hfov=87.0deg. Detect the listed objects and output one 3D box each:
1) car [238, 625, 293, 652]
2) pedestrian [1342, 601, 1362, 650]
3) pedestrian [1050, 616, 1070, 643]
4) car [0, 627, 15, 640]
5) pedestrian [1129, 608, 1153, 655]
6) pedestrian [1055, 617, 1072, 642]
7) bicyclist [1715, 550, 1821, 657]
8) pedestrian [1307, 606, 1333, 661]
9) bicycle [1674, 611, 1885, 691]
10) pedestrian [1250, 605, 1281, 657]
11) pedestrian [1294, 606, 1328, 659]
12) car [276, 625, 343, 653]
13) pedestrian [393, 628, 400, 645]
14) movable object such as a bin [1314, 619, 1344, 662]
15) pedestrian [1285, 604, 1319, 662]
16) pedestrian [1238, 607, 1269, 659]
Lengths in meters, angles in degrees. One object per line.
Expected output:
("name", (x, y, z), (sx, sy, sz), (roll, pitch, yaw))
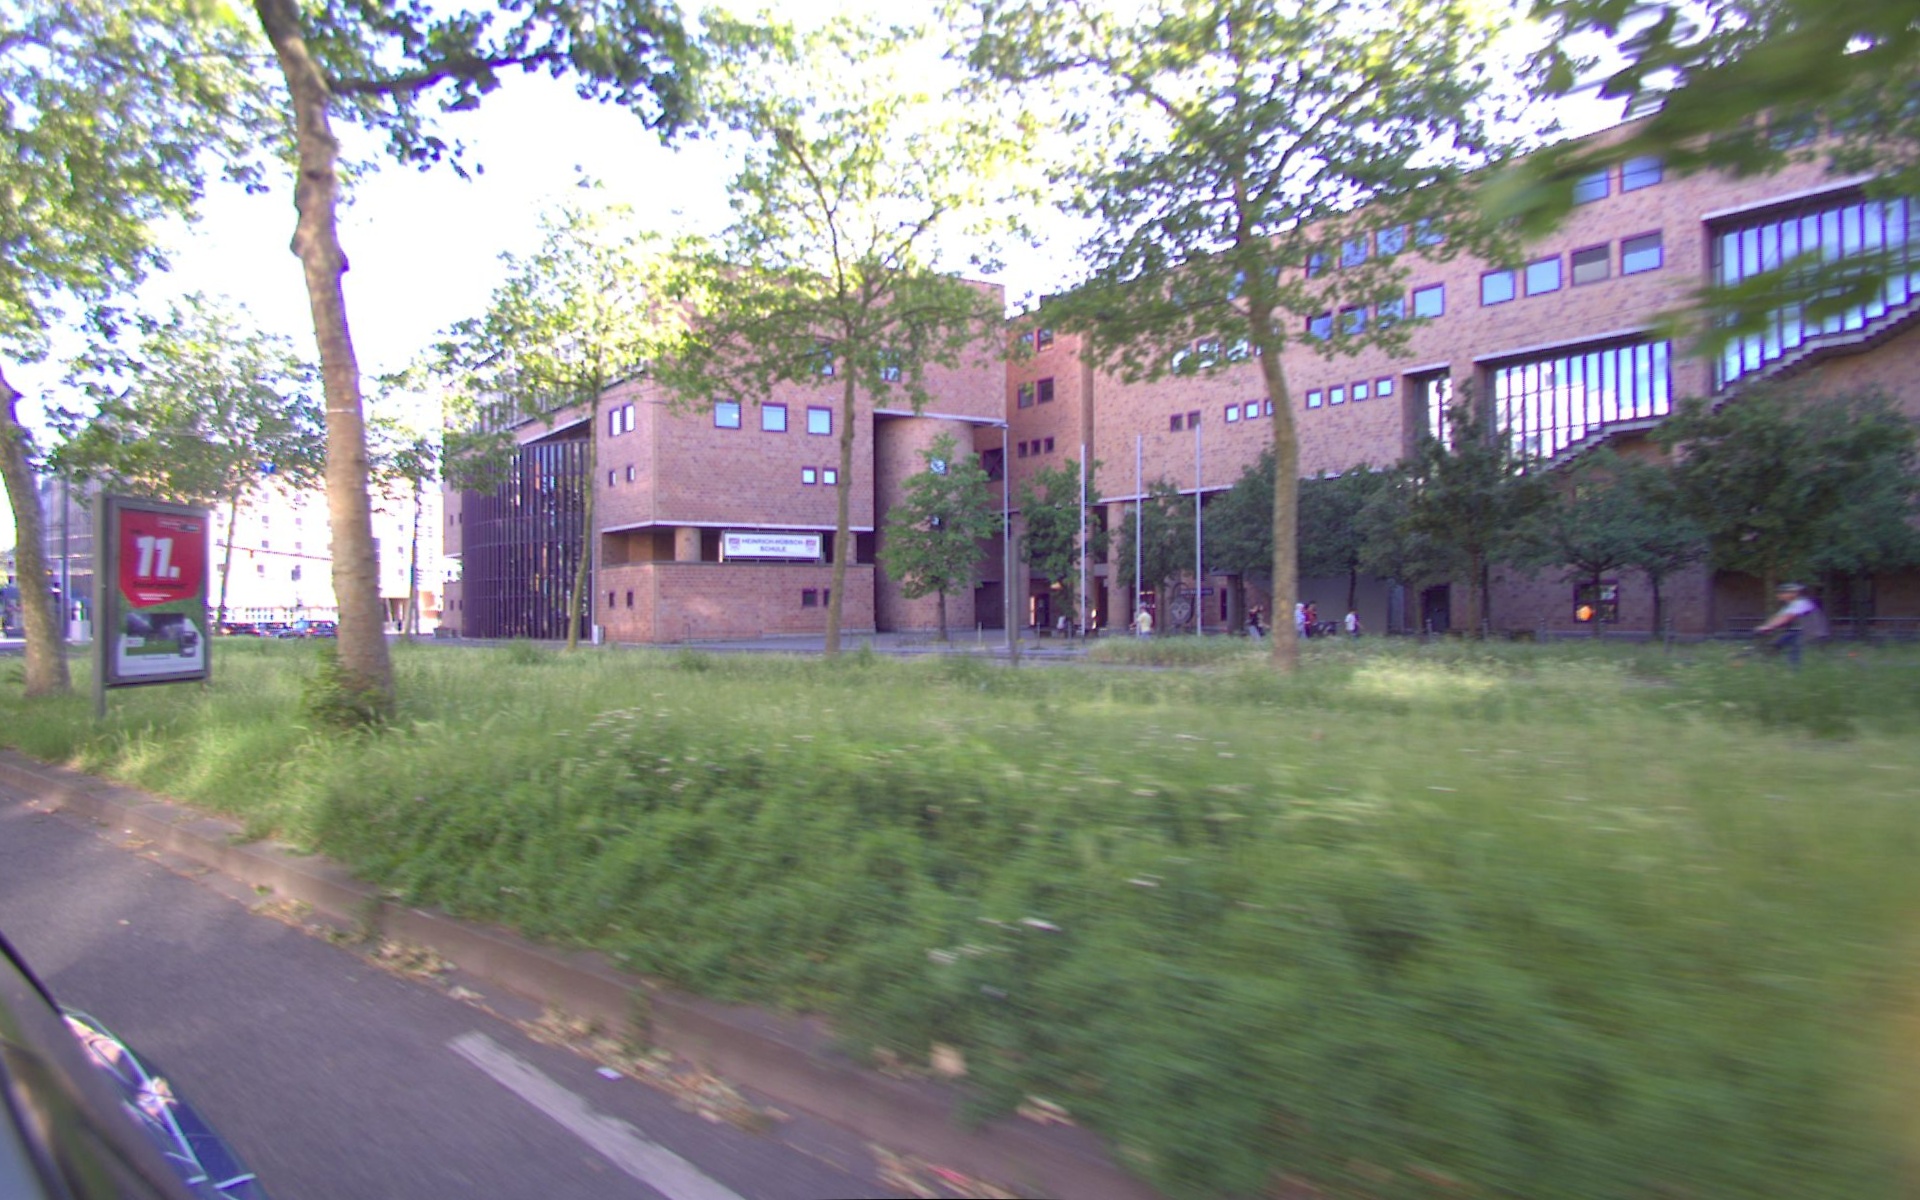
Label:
("car", (-39.414, 2.186, 57.417), (3.216, 1.440, 1.598), (-2, -2, 37))
("pedestrian", (12.277, 0.810, 31.678), (0.462, 1.517, 0.479), (-1, -1, 33))
("pedestrian", (4.809, 1.417, 48.667), (0.654, 1.260, 0.759), (0, -1, -20))
("car", (-131.429, 4.626, 139.182), (3.998, 1.663, 1.682), (-2, -1, 41))
("pedestrian", (6.068, 1.040, 33.952), (0.411, 1.555, 0.654), (0, -1, -38))
("pedestrian", (5.084, 1.465, 49.636), (0.627, 1.207, 0.660), (-1, -1, 28))
("bicyclist", (12.430, 0.065, 15.600), (1.208, 1.583, 0.932), (-2, -1, 38))
("pedestrian", (11.265, 1.047, 31.648), (0.595, 1.692, 0.605), (-2, -1, 37))
("bicycle", (12.476, 0.736, 15.525), (2.433, 1.134, 0.947), (-1, -1, 38))
("pedestrian", (9.778, 0.992, 32.427), (0.755, 1.629, 0.658), (-2, -1, 35))
("pedestrian", (10.914, 1.008, 31.484), (0.656, 1.629, 0.757), (0, -1, -41))
("car", (-34.491, 2.065, 53.659), (4.142, 1.440, 1.655), (-2, -1, 37))
("pedestrian", (-51.633, 3.333, 92.667), (0.558, 1.516, 0.513), (0, -3, -30))
("movable object such as a bin", (11.024, 1.204, 30.269), (0.755, 1.289, 0.352), (-2, -1, 37))
("pedestrian", (10.396, 1.000, 30.743), (0.795, 1.735, 0.658), (-2, -1, 37))
("pedestrian", (9.213, 1.031, 31.760), (0.755, 1.629, 0.658), (-2, -1, 37))
